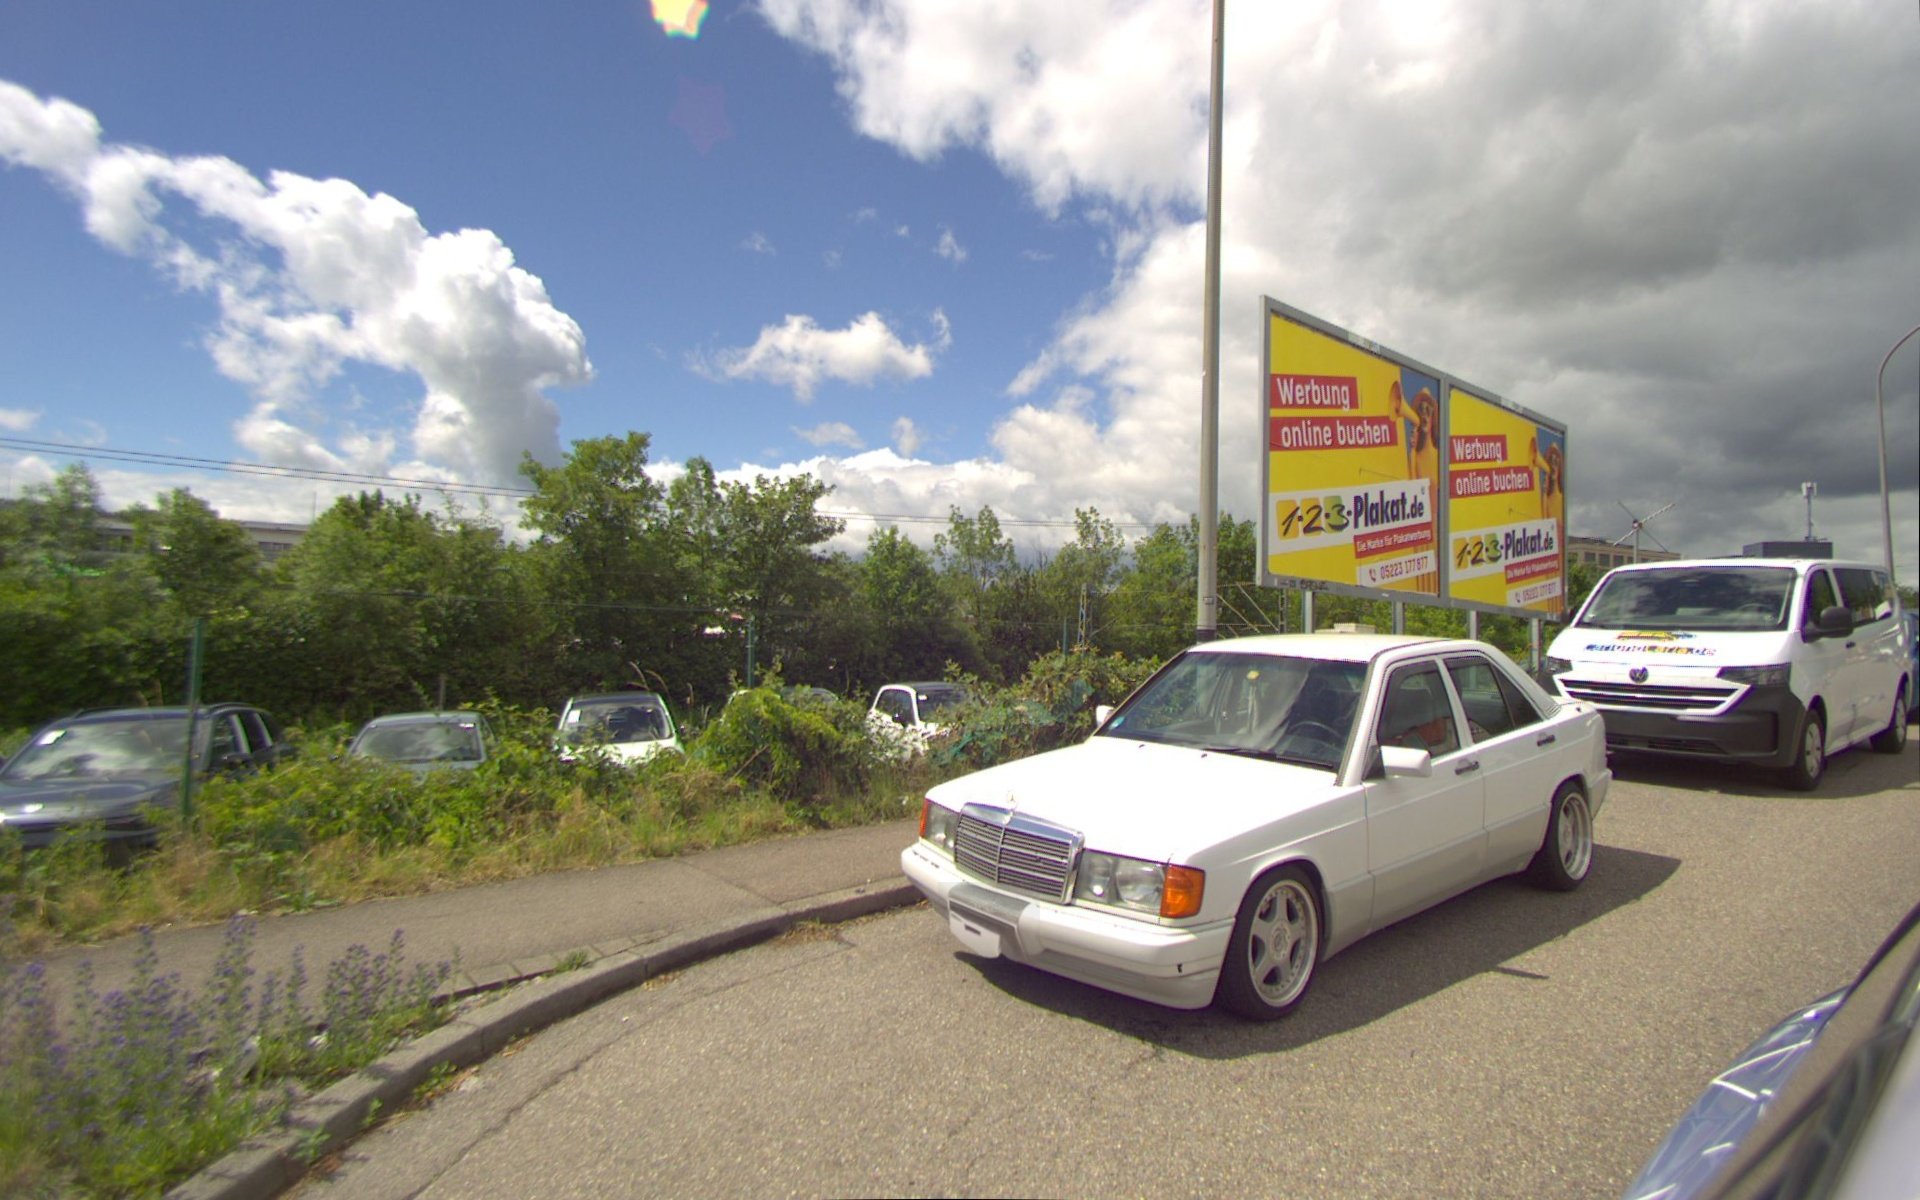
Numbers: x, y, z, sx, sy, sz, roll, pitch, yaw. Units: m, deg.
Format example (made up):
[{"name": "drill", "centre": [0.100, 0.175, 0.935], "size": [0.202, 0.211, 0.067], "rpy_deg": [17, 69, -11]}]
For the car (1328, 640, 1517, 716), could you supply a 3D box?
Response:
[{"name": "car", "centre": [10.360, 1.654, 22.561], "size": [4.469, 1.368, 1.822], "rpy_deg": [0, 0, -35]}]

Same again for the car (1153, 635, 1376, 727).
[{"name": "car", "centre": [6.003, 1.494, 19.754], "size": [4.469, 1.460, 1.822], "rpy_deg": [0, 0, -35]}]

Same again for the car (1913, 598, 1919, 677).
[{"name": "car", "centre": [20.168, 0.721, 19.971], "size": [2.806, 1.542, 1.596], "rpy_deg": [0, -1, -38]}]

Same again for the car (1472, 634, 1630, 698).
[{"name": "car", "centre": [15.162, 1.621, 25.892], "size": [4.469, 1.368, 1.822], "rpy_deg": [0, 0, -35]}]

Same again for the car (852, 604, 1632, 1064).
[{"name": "car", "centre": [1.645, 0.727, 5.048], "size": [4.128, 1.405, 1.641], "rpy_deg": [0, -1, -38]}]

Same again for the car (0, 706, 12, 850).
[{"name": "car", "centre": [-10.006, 1.857, 8.490], "size": [1.641, 1.464, 4.008], "rpy_deg": [0, 0, -22]}]

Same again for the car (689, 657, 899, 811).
[{"name": "car", "centre": [-2.522, 1.755, 14.518], "size": [1.757, 1.618, 4.005], "rpy_deg": [0, 0, -29]}]

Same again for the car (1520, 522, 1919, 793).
[{"name": "car", "centre": [7.834, 0.435, 10.042], "size": [5.445, 2.029, 1.980], "rpy_deg": [0, -1, -38]}]

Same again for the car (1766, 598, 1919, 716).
[{"name": "car", "centre": [13.016, 0.720, 14.374], "size": [3.906, 1.469, 1.597], "rpy_deg": [0, -1, -38]}]

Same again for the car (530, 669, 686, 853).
[{"name": "car", "centre": [-4.441, 1.871, 12.992], "size": [1.606, 1.661, 4.008], "rpy_deg": [0, 0, -18]}]

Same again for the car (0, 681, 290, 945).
[{"name": "car", "centre": [-7.849, 1.776, 9.600], "size": [1.681, 1.656, 4.008], "rpy_deg": [0, 0, -21]}]

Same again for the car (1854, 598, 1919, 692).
[{"name": "car", "centre": [16.730, 0.721, 17.229], "size": [3.435, 1.500, 1.597], "rpy_deg": [0, -1, -37]}]

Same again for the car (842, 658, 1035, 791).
[{"name": "car", "centre": [-0.474, 1.780, 15.654], "size": [1.611, 1.509, 4.007], "rpy_deg": [0, 0, -23]}]

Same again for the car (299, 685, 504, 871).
[{"name": "car", "centre": [-6.311, 1.883, 11.835], "size": [1.630, 1.399, 4.008], "rpy_deg": [0, 0, -22]}]
